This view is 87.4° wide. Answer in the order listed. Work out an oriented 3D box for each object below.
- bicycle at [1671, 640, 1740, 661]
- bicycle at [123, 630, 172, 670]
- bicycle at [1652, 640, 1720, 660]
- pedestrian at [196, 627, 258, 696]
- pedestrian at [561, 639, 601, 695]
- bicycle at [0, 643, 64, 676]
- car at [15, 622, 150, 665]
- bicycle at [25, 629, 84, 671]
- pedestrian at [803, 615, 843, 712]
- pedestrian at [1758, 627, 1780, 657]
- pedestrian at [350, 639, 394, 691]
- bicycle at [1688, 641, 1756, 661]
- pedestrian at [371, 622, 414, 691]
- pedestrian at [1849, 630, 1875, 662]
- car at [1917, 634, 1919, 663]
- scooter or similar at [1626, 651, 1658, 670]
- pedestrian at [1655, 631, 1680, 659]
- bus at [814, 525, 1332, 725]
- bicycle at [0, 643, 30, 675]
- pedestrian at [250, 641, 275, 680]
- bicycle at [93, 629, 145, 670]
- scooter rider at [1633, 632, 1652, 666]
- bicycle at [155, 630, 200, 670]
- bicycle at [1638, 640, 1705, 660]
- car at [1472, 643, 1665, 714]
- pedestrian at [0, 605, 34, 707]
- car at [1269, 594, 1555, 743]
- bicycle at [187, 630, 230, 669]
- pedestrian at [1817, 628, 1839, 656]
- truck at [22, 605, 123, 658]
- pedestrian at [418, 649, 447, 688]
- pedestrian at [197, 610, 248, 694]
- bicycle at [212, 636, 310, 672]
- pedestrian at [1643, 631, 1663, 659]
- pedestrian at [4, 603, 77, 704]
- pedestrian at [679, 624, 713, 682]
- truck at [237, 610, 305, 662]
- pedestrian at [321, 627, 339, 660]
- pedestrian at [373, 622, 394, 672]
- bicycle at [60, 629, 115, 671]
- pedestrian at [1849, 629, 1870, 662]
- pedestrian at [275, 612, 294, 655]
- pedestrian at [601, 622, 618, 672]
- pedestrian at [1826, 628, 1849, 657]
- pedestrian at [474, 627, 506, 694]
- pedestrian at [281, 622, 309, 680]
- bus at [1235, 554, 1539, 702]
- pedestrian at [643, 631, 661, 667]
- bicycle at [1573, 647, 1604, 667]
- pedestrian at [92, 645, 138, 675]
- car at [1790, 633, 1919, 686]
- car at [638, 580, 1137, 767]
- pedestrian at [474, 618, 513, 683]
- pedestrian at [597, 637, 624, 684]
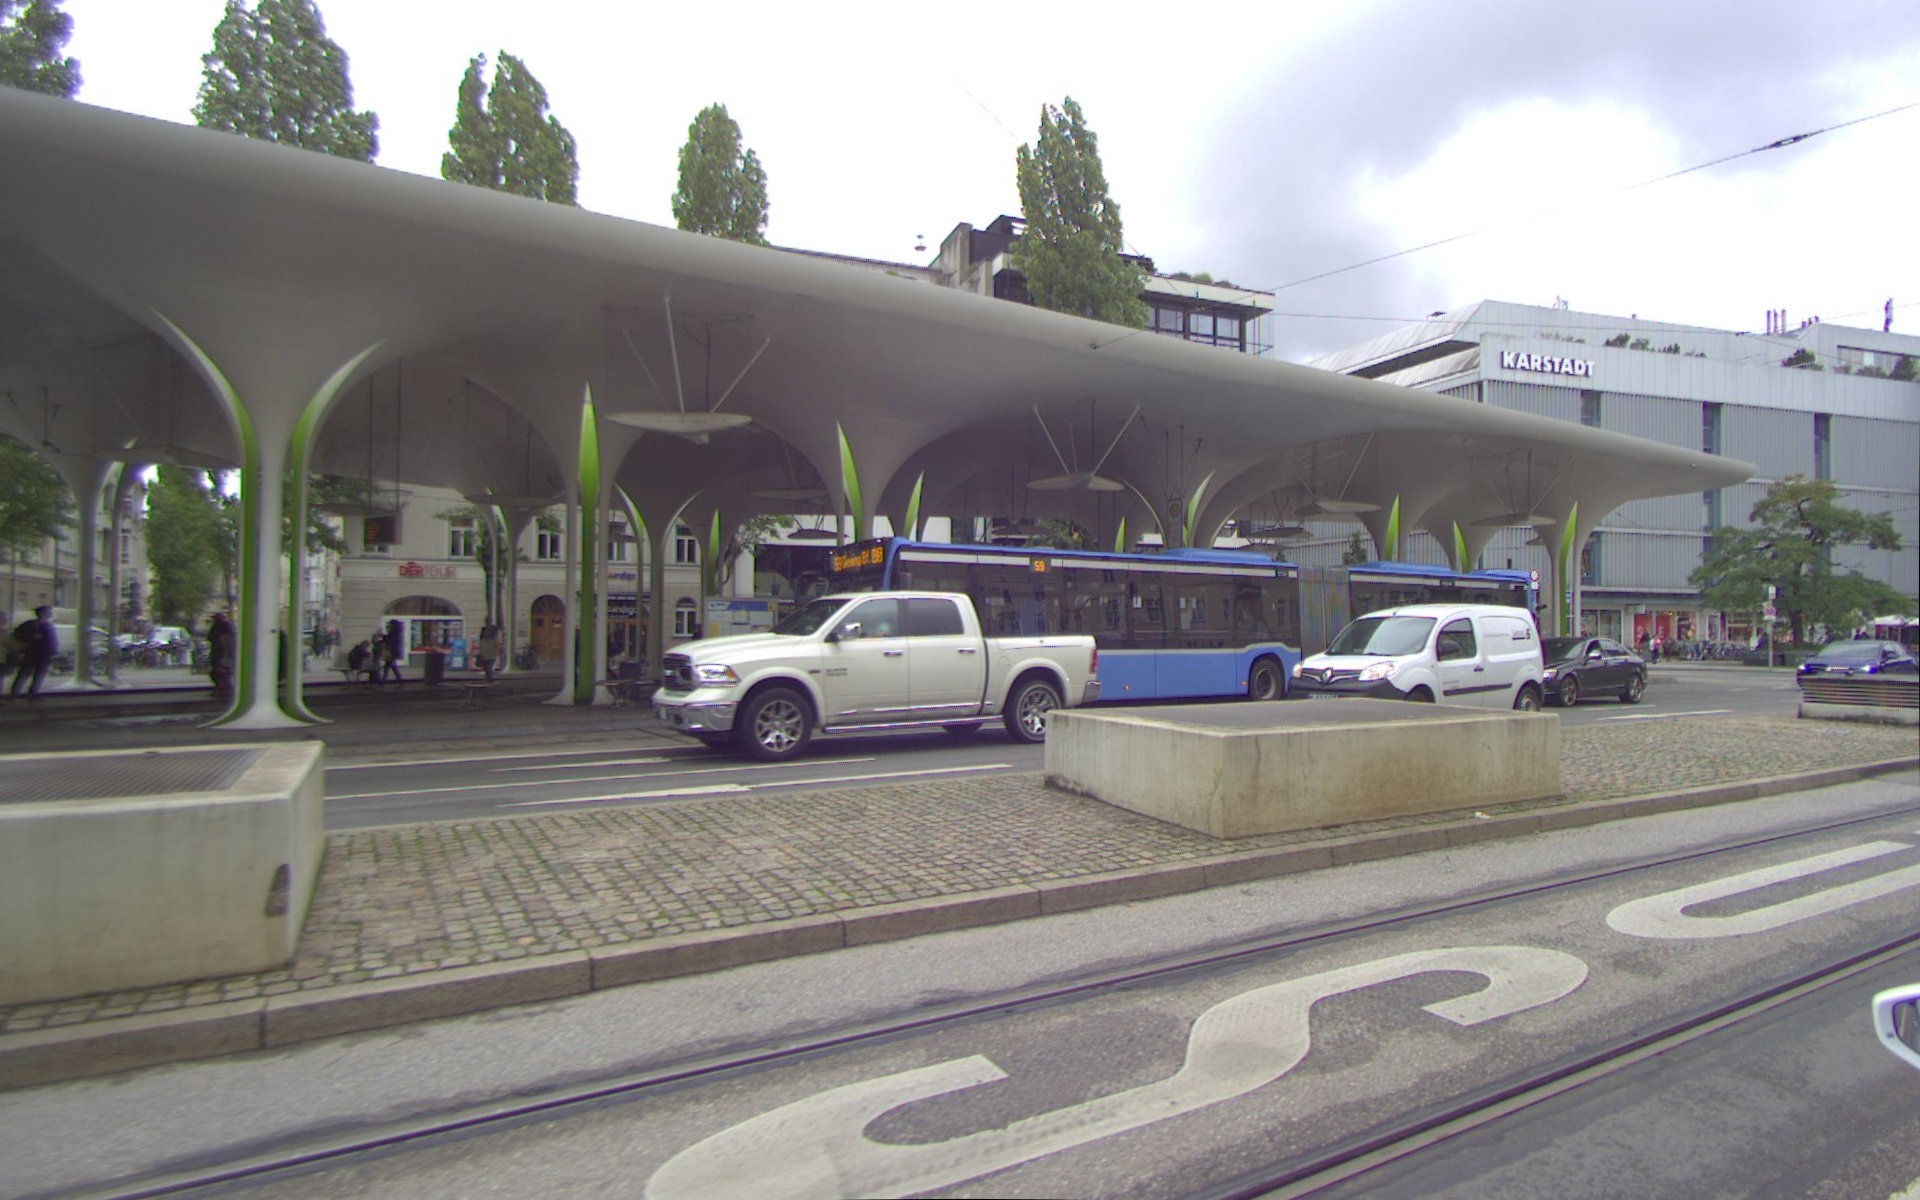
[{"bbox_3d":[46.151,3.114,62.260,1.042,1.172,3.493,1,-2,-16],"label":"bicycle"},{"bbox_3d":[-34.816,2.102,43.099,0.989,1.634,3.598,1,-2,-29],"label":"bicycle"},{"bbox_3d":[44.588,3.078,61.755,1.042,1.172,3.493,1,-2,-16],"label":"bicycle"},{"bbox_3d":[-15.321,1.269,21.015,0.829,1.388,0.961,1,-1,-23],"label":"pedestrian"},{"bbox_3d":[-10.757,1.888,28.532,0.888,1.528,0.738,1,-2,-37],"label":"pedestrian"},{"bbox_3d":[-34.303,2.171,37.022,0.726,1.149,2.677,1,-1,-14],"label":"bicycle"},{"bbox_3d":[-42.058,2.060,48.299,4.765,1.945,1.977,2,-2,-40],"label":"car"},{"bbox_3d":[-37.558,2.041,41.712,0.989,1.634,3.598,1,-2,-29],"label":"bicycle"},{"bbox_3d":[-2.541,1.156,18.603,0.566,1.756,0.501,1,-2,-34],"label":"pedestrian"},{"bbox_3d":[46.006,2.397,57.151,0.774,1.710,0.862,0,-1,26],"label":"pedestrian"},{"bbox_3d":[-14.053,1.532,24.040,0.867,1.170,0.908,1,1,-29],"label":"pedestrian"},{"bbox_3d":[47.522,3.145,62.706,1.042,1.172,3.493,1,-2,-16],"label":"bicycle"},{"bbox_3d":[-13.259,1.309,23.455,0.652,1.585,0.640,-1,-2,35],"label":"pedestrian"},{"bbox_3d":[48.049,2.443,53.515,0.740,1.676,0.770,0,-1,-19],"label":"pedestrian"},{"bbox_3d":[54.188,2.640,55.180,4.382,1.556,1.976,1,-3,-42],"label":"car"},{"bbox_3d":[37.551,3.308,55.290,0.410,0.995,1.391,1,-2,-33],"label":"scooter or similar"},{"bbox_3d":[42.100,2.674,59.737,0.962,1.602,0.796,1,-1,-19],"label":"pedestrian"},{"bbox_3d":[2.551,0.539,19.150,10.397,3.046,2.647,1,-3,-32],"label":"bus"},{"bbox_3d":[-35.215,2.151,36.613,0.726,1.149,2.677,1,-1,-14],"label":"bicycle"},{"bbox_3d":[-20.381,1.758,29.349,0.573,1.098,0.513,1,-2,-37],"label":"pedestrian"},{"bbox_3d":[-35.690,2.082,42.697,0.989,1.634,3.598,1,-2,-29],"label":"bicycle"},{"bbox_3d":[37.590,2.691,55.317,0.614,1.859,0.661,1,-2,-34],"label":"scooter rider"},{"bbox_3d":[-33.965,2.120,43.644,0.989,1.634,3.598,1,-2,-29],"label":"bicycle"},{"bbox_3d":[43.429,3.051,61.377,1.042,1.172,3.493,1,-2,-16],"label":"bicycle"},{"bbox_3d":[13.243,1.632,21.795,4.561,1.396,1.664,1,-3,-32],"label":"car"},{"bbox_3d":[-16.827,0.976,17.589,0.796,1.750,0.671,-1,-2,31],"label":"pedestrian"},{"bbox_3d":[6.585,0.935,14.524,4.172,1.879,1.776,1,-3,-33],"label":"car"},{"bbox_3d":[-32.981,2.142,44.135,0.989,1.634,3.598,1,-2,-29],"label":"bicycle"},{"bbox_3d":[47.515,2.301,54.983,0.737,1.513,0.772,0,-1,26],"label":"pedestrian"},{"bbox_3d":[-46.678,1.653,52.974,2.259,2.658,5.324,1,-2,-22],"label":"truck"},{"bbox_3d":[-13.884,1.802,26.461,0.450,1.002,0.513,0,-1,34],"label":"pedestrian"},{"bbox_3d":[-16.375,1.148,22.324,0.772,1.812,0.760,1,-1,-27],"label":"pedestrian"},{"bbox_3d":[-26.587,2.032,38.257,2.898,1.331,0.838,1,-2,-21],"label":"bicycle"},{"bbox_3d":[40.441,2.633,58.646,0.707,1.595,0.639,1,-1,-9],"label":"pedestrian"},{"bbox_3d":[-17.745,1.022,19.403,0.868,1.897,0.707,1,-1,-30],"label":"pedestrian"},{"bbox_3d":[-8.080,1.610,30.737,0.882,1.753,0.869,1,-2,-22],"label":"pedestrian"},{"bbox_3d":[-36.097,1.874,52.801,2.412,2.546,7.126,1,-2,-30],"label":"truck"},{"bbox_3d":[-34.666,2.373,55.251,0.791,1.807,0.951,1,-1,-31],"label":"pedestrian"},{"bbox_3d":[-21.470,1.747,37.406,0.546,1.838,0.556,1,-1,-18],"label":"pedestrian"},{"bbox_3d":[-36.591,2.063,42.192,0.989,1.634,3.598,1,-2,-29],"label":"bicycle"},{"bbox_3d":[48.807,2.453,54.515,0.740,1.796,0.770,-1,-1,37],"label":"pedestrian"},{"bbox_3d":[-32.269,1.602,47.975,0.564,2.040,0.666,1,-1,-20],"label":"pedestrian"},{"bbox_3d":[-15.688,2.103,44.979,0.716,2.201,0.556,1,-1,-19],"label":"pedestrian"},{"bbox_3d":[48.427,2.351,55.450,0.737,1.575,0.772,0,-1,25],"label":"pedestrian"},{"bbox_3d":[-11.803,1.512,25.237,0.690,1.639,0.644,1,-2,-26],"label":"pedestrian"},{"bbox_3d":[-19.683,1.499,29.727,0.635,1.669,0.596,1,-2,-37],"label":"pedestrian"},{"bbox_3d":[10.181,0.704,23.707,7.424,3.046,2.649,1,-3,-30],"label":"bus"},{"bbox_3d":[-14.593,2.302,47.612,0.742,1.699,0.790,1,-2,-20],"label":"pedestrian"},{"bbox_3d":[33.030,3.000,52.781,1.962,1.011,0.524,3,-2,-30],"label":"bicycle"},{"bbox_3d":[-32.028,2.262,38.083,0.606,1.097,1.835,1,-1,-16],"label":"pedestrian"},{"bbox_3d":[25.627,1.671,28.731,4.186,1.414,1.669,1,-3,-32],"label":"car"},{"bbox_3d":[-0.757,0.855,12.847,6.088,1.912,2.164,1,-3,-32],"label":"car"},{"bbox_3d":[-12.547,1.340,27.046,0.635,1.719,0.700,0,-1,11],"label":"pedestrian"},{"bbox_3d":[-9.648,1.654,27.742,0.563,1.282,0.520,0,-1,0],"label":"pedestrian"}]
